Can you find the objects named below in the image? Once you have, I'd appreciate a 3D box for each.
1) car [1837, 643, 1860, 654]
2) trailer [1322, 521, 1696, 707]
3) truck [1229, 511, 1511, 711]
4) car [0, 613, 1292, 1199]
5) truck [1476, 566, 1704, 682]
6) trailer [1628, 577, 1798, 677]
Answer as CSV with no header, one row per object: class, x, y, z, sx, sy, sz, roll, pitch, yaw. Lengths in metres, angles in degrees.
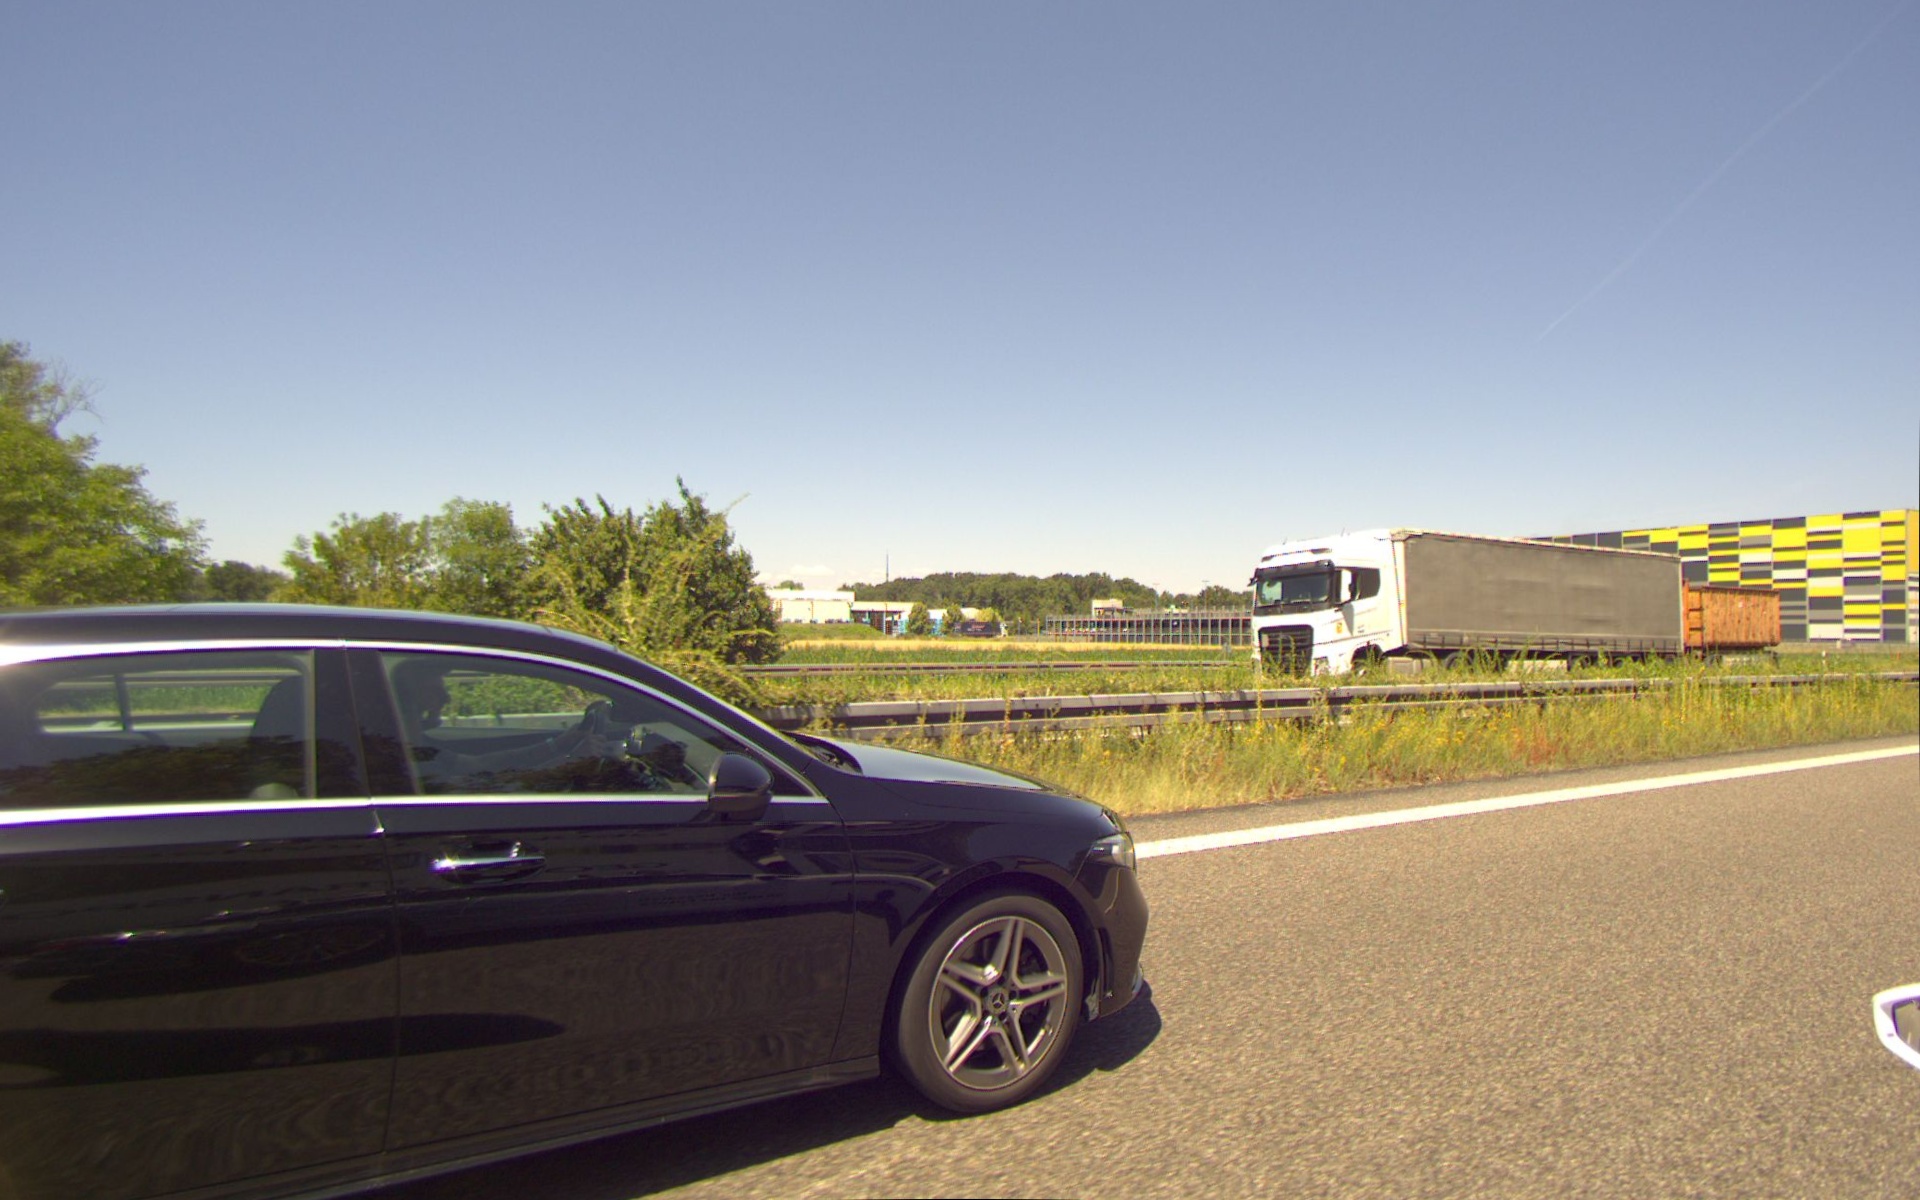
car,141.469,7.707,159.996,4.067,1.750,1.675,2,-2,-32
trailer,16.182,0.570,28.949,13.172,4.480,3.180,2,-3,-31
truck,10.484,0.387,25.563,6.900,4.484,3.146,2,-2,-31
car,-1.046,0.786,3.208,4.003,1.430,1.784,2,-1,-29
truck,24.095,1.031,38.143,10.702,3.934,2.637,2,-4,-31
trailer,32.400,1.262,43.102,8.560,3.970,2.647,2,-4,-31
